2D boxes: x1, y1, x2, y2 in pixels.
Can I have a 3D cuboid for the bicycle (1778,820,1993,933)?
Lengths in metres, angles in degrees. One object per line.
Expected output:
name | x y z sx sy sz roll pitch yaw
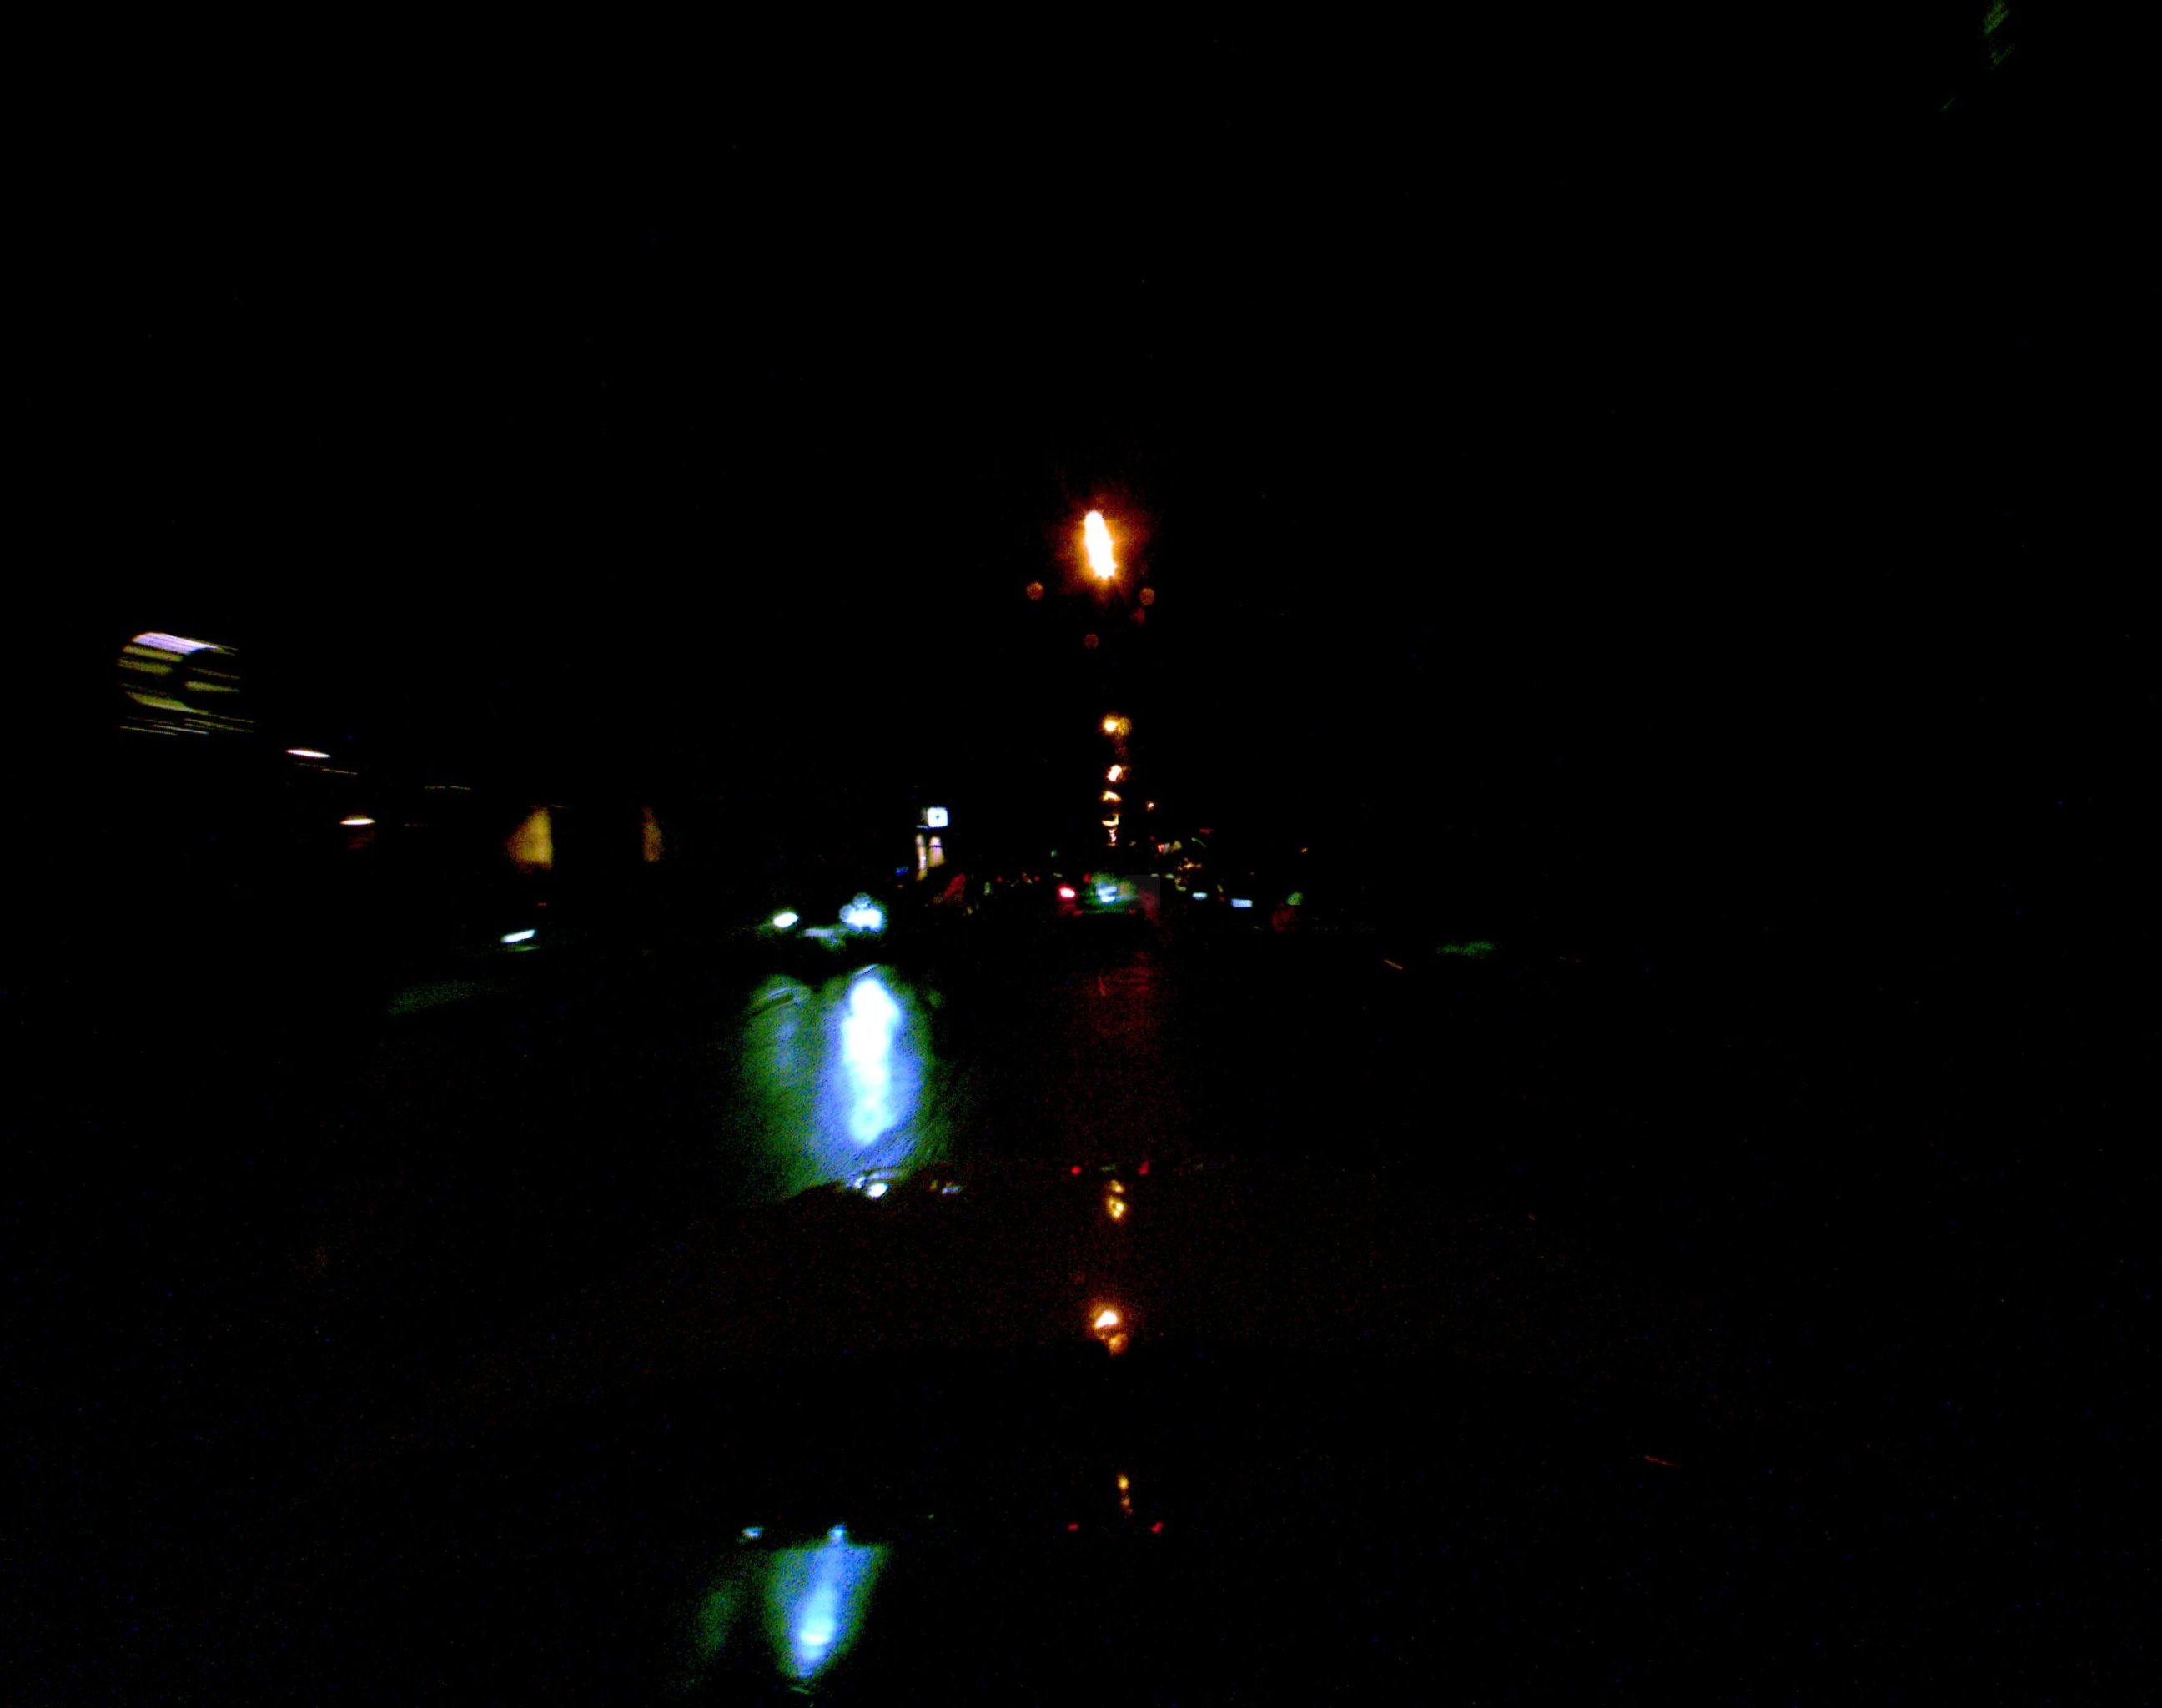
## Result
bicycle | 9.092 0.246 9.224 1.968 1.054 0.509 -6 -1 -5

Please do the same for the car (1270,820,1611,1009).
car | 4.157 0.532 9.267 3.818 1.728 1.723 -2 -1 -34

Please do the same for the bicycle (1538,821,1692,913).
bicycle | 9.118 0.220 13.971 1.960 1.335 0.784 -6 -1 8

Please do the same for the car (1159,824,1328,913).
car | 4.791 0.386 23.742 4.745 2.248 1.926 -3 -1 -34

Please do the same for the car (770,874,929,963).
car | -4.252 1.126 15.675 1.648 1.359 4.224 -3 -1 2

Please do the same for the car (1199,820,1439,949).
car | 4.376 0.483 14.737 4.265 1.858 1.698 -5 -1 -34

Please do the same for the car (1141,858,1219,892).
car | 5.190 1.085 42.616 3.692 1.460 1.590 -4 -1 -27

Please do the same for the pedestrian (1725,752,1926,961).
pedestrian | 7.264 0.036 8.011 0.836 1.835 0.946 -8 -2 -2

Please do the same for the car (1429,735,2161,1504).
car | 3.788 0.570 3.612 4.114 1.764 1.843 -2 -1 -26

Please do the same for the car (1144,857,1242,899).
car | 4.942 1.048 35.765 4.015 1.552 1.786 -3 -1 -33

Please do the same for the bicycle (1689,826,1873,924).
bicycle | 9.055 0.266 10.554 1.968 1.054 0.509 -6 -1 -5

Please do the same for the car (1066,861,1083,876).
car | -0.759 1.562 89.976 1.808 1.557 4.074 -2 -1 -1

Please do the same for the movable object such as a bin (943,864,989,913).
movable object such as a bin | -3.555 1.056 25.211 1.159 1.459 1.108 -1 -1 4

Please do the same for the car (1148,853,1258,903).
car | 4.454 0.859 29.682 3.662 1.542 1.546 -3 -1 -28

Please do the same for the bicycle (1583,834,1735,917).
bicycle | 8.855 0.325 12.507 1.968 1.054 0.509 -6 -1 -5

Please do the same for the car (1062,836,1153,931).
car | 0.682 0.713 20.366 1.986 2.050 4.002 -2 -1 2

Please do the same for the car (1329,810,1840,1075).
car | 4.233 0.506 6.757 4.074 1.611 1.827 -2 -1 -29

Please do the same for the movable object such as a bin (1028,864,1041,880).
movable object such as a bin | -4.205 1.641 73.721 1.043 1.398 1.159 -1 -1 5

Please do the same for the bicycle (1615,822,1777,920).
bicycle | 8.938 0.243 11.858 1.968 1.191 0.509 -6 -1 -5

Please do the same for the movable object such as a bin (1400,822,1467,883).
movable object such as a bin | 9.431 -0.026 21.841 1.204 1.451 0.999 -7 -1 2

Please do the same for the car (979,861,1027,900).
car | -3.389 1.134 36.019 1.597 1.552 4.027 -2 0 2

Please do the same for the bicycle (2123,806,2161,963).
bicycle | 8.819 0.147 5.940 1.683 1.146 0.664 -6 0 -7

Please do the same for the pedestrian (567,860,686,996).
pedestrian | -6.303 1.000 11.338 1.128 1.782 0.788 -2 -1 2

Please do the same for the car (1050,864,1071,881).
car | -1.867 1.671 74.316 1.580 1.482 3.796 -2 -1 3

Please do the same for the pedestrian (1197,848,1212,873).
pedestrian | 9.800 0.515 64.523 0.866 1.856 0.993 -5 -1 0

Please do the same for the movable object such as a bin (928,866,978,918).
movable object such as a bin | -3.763 1.109 24.014 1.203 1.459 1.108 -1 -1 4

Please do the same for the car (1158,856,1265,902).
car | 5.331 0.998 33.170 4.018 1.552 1.978 -3 -1 -36

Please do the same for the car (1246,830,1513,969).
car | 4.462 0.571 12.064 3.787 1.728 1.700 -2 -1 -32

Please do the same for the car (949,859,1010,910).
car | -3.678 1.084 30.074 1.597 1.706 3.723 -2 -1 2

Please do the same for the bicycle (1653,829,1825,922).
bicycle | 9.028 0.285 11.199 1.968 1.054 0.509 -6 -1 -5

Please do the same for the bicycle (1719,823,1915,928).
bicycle | 8.999 0.260 9.978 1.968 1.054 0.509 -6 -1 -5

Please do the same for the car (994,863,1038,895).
car | -3.261 1.253 41.409 1.680 1.455 4.317 -2 0 2
